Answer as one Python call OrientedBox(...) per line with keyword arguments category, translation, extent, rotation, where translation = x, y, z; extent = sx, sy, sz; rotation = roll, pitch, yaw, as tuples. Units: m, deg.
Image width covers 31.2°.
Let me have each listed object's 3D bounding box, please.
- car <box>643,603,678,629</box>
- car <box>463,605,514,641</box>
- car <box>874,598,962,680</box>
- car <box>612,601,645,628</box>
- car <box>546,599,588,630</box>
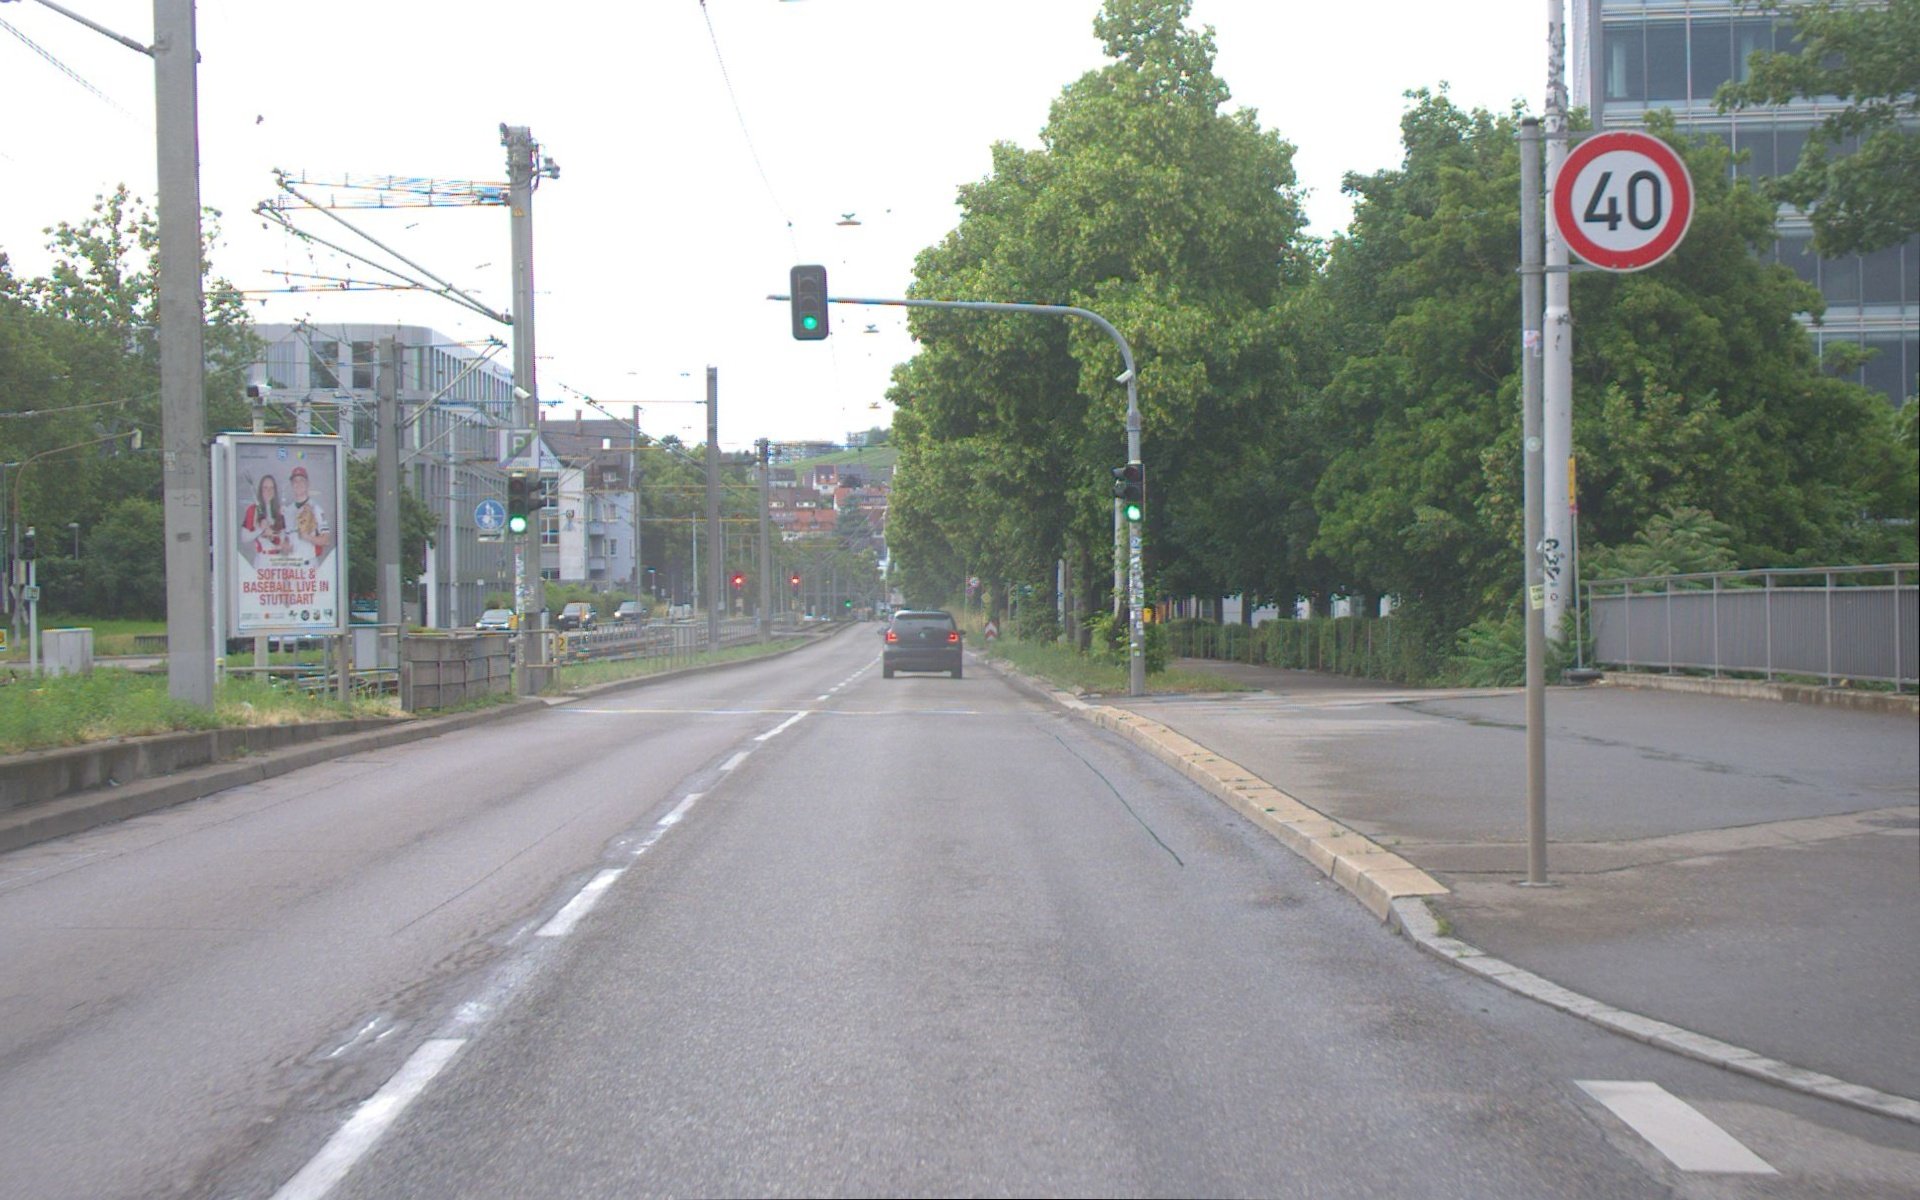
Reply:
OrientedBox(category="car", translation=(-20.934, 1.118, 240.580), extent=(1.850, 1.626, 3.609), rotation=(2, 2, 4))
OrientedBox(category="car", translation=(-24.268, 1.196, 177.138), extent=(1.850, 1.626, 3.609), rotation=(2, 2, 4))
OrientedBox(category="car", translation=(-0.881, 0.783, 71.174), extent=(1.726, 1.535, 4.000), rotation=(2, 1, -1))
OrientedBox(category="car", translation=(-22.653, 1.000, 235.009), extent=(1.653, 1.626, 3.609), rotation=(2, 2, 4))
OrientedBox(category="car", translation=(-23.744, 0.861, 207.885), extent=(1.850, 1.626, 3.609), rotation=(2, 2, 4))
